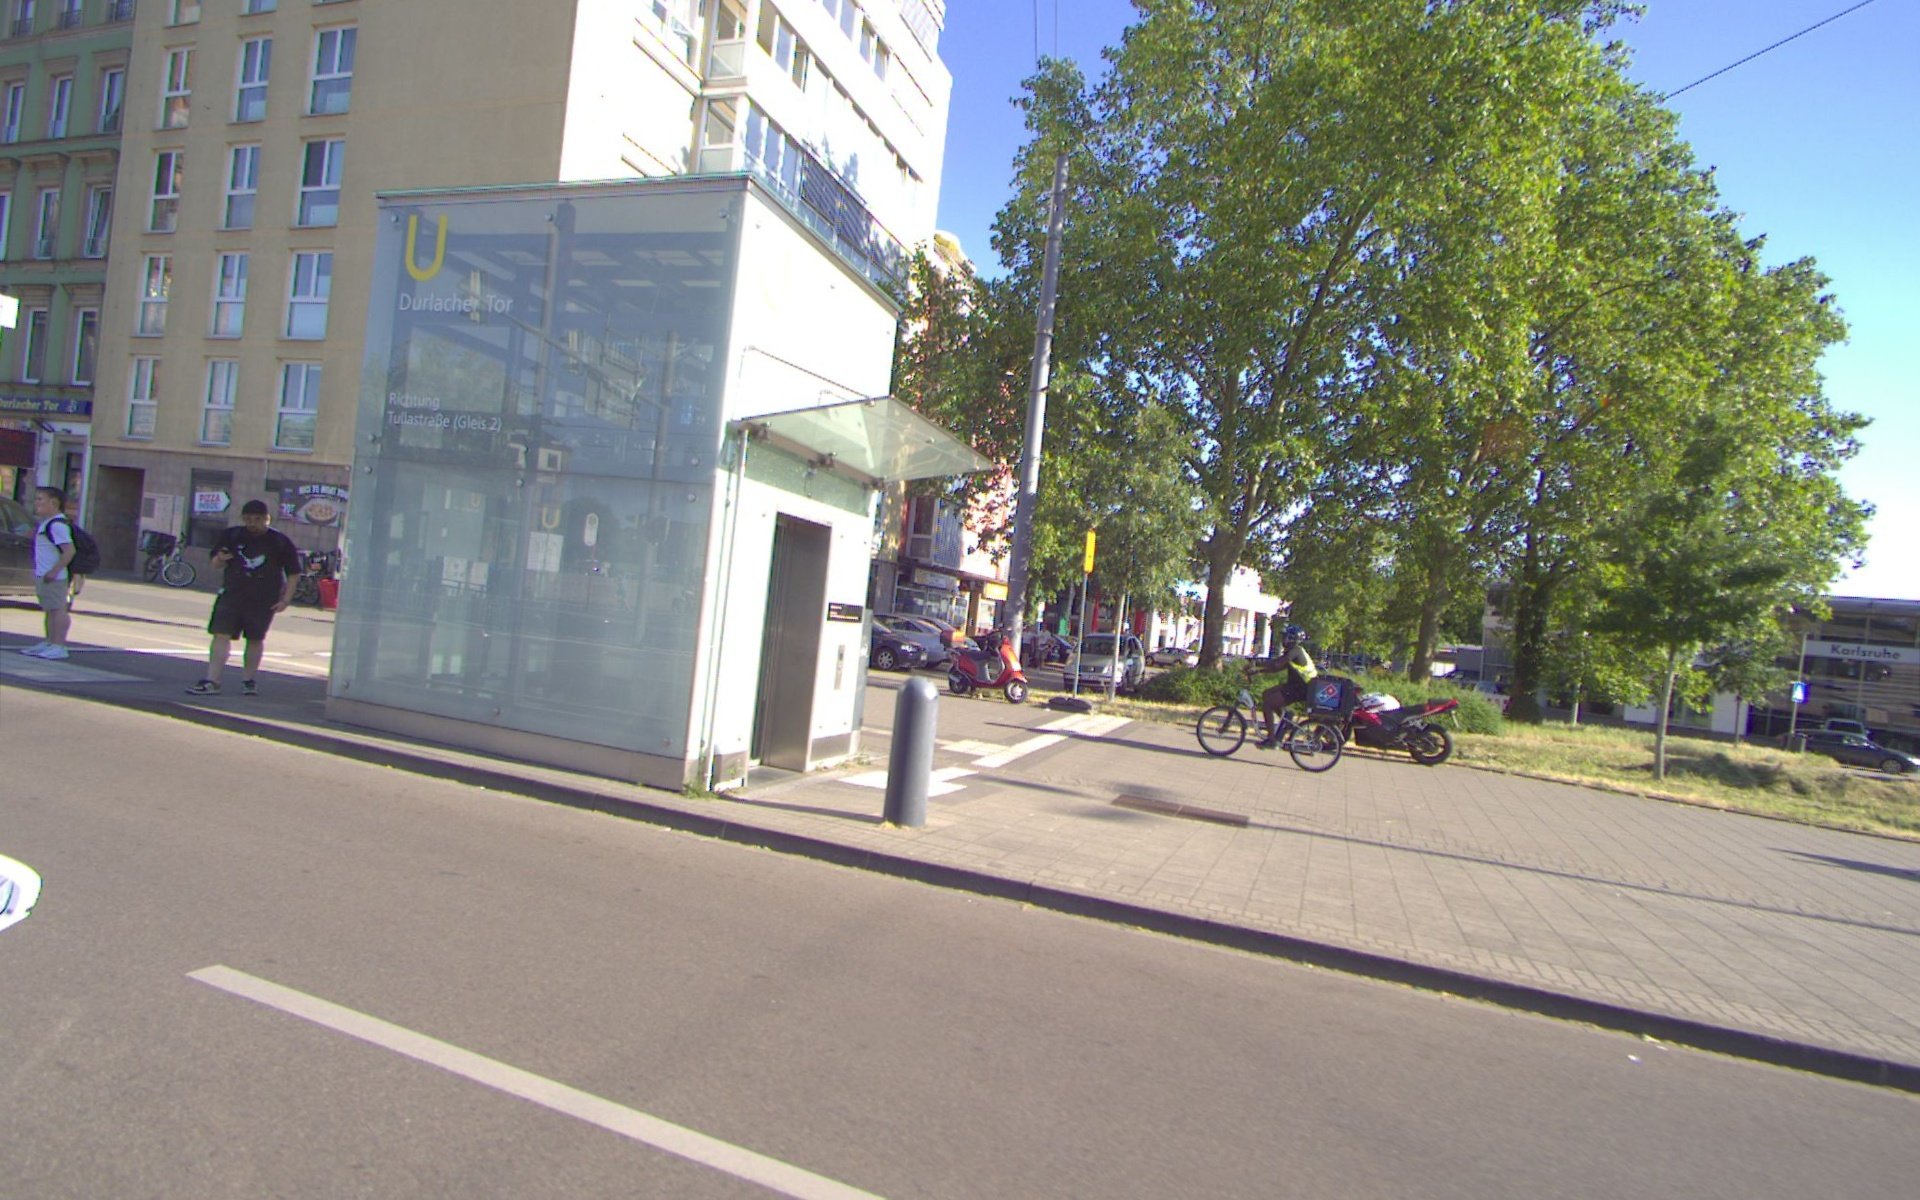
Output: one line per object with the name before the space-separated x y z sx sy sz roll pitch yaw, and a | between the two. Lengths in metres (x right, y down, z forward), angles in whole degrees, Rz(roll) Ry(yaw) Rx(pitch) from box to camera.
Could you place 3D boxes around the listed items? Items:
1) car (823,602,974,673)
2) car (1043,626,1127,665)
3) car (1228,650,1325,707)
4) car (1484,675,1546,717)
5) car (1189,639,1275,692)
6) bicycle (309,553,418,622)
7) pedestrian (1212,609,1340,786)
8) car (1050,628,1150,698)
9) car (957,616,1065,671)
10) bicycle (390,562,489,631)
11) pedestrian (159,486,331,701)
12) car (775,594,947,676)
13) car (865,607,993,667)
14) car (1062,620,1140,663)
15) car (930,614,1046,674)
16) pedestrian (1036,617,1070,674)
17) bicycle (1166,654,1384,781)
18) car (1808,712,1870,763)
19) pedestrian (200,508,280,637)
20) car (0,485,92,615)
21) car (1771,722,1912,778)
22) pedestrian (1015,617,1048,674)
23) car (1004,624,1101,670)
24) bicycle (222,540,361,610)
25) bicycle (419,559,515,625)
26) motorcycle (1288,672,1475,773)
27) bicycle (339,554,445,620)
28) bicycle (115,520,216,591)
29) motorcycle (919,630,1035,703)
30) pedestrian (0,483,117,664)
car | -1.820 1.100 30.003 3.926 1.438 1.855 9 1 21
car | 6.624 2.396 53.391 3.926 1.438 1.855 9 1 21
car | 14.421 3.529 45.905 3.925 1.892 1.856 9 2 19
car | 32.028 5.514 58.214 1.766 1.531 3.994 9 5 10
car | 13.989 3.311 51.717 3.925 2.025 1.856 9 2 19
bicycle | -12.980 -0.273 21.872 2.256 1.264 0.659 6 1 19
pedestrian | 4.114 1.232 13.145 1.246 2.039 1.034 9 2 18
car | 4.072 1.756 28.736 1.886 1.719 3.998 4 -1 21
car | 2.145 1.793 41.973 3.926 1.656 1.855 9 2 21
bicycle | -10.981 -0.079 21.220 1.864 1.264 0.659 6 1 18
pedestrian | -6.366 -0.048 9.012 0.855 1.749 0.793 6 0 -11
car | -2.690 0.934 27.531 4.148 1.501 1.856 9 1 18
car | -1.070 1.289 35.220 3.926 1.438 1.855 9 1 21
car | 8.141 2.379 57.948 3.926 1.802 1.855 9 2 21
car | 1.089 1.676 38.882 3.926 1.656 1.855 9 2 21
pedestrian | 3.247 1.593 35.116 0.739 1.889 0.831 6 0 24
bicycle | 4.072 1.484 13.145 2.483 1.137 1.034 9 2 18
car | 43.140 6.690 49.408 1.971 2.039 3.982 10 2 41
pedestrian | -11.215 -0.421 15.696 0.688 1.889 0.749 6 0 -21
car | -14.686 -0.825 14.360 1.933 1.835 4.234 7 -2 -20
car | 35.849 6.051 41.025 4.109 1.354 1.745 10 2 42
pedestrian | 2.515 1.612 35.493 0.739 1.889 0.831 6 0 24
car | 4.240 2.133 46.249 3.926 1.438 1.855 9 1 21
bicycle | -15.453 -0.578 23.253 3.004 1.279 0.988 6 0 20
bicycle | -10.776 -0.173 21.994 1.864 1.264 0.659 6 1 18
motorcycle | 6.197 1.790 14.936 2.238 1.088 1.040 7 1 6
bicycle | -12.802 -0.289 22.677 2.256 1.264 0.659 6 1 19
bicycle | -19.183 -1.068 24.287 2.189 1.374 0.932 9 2 24
motorcycle | 0.301 1.133 17.477 1.770 1.059 0.881 5 0 18
pedestrian | -9.421 -0.265 10.353 0.739 1.749 0.698 6 0 4
